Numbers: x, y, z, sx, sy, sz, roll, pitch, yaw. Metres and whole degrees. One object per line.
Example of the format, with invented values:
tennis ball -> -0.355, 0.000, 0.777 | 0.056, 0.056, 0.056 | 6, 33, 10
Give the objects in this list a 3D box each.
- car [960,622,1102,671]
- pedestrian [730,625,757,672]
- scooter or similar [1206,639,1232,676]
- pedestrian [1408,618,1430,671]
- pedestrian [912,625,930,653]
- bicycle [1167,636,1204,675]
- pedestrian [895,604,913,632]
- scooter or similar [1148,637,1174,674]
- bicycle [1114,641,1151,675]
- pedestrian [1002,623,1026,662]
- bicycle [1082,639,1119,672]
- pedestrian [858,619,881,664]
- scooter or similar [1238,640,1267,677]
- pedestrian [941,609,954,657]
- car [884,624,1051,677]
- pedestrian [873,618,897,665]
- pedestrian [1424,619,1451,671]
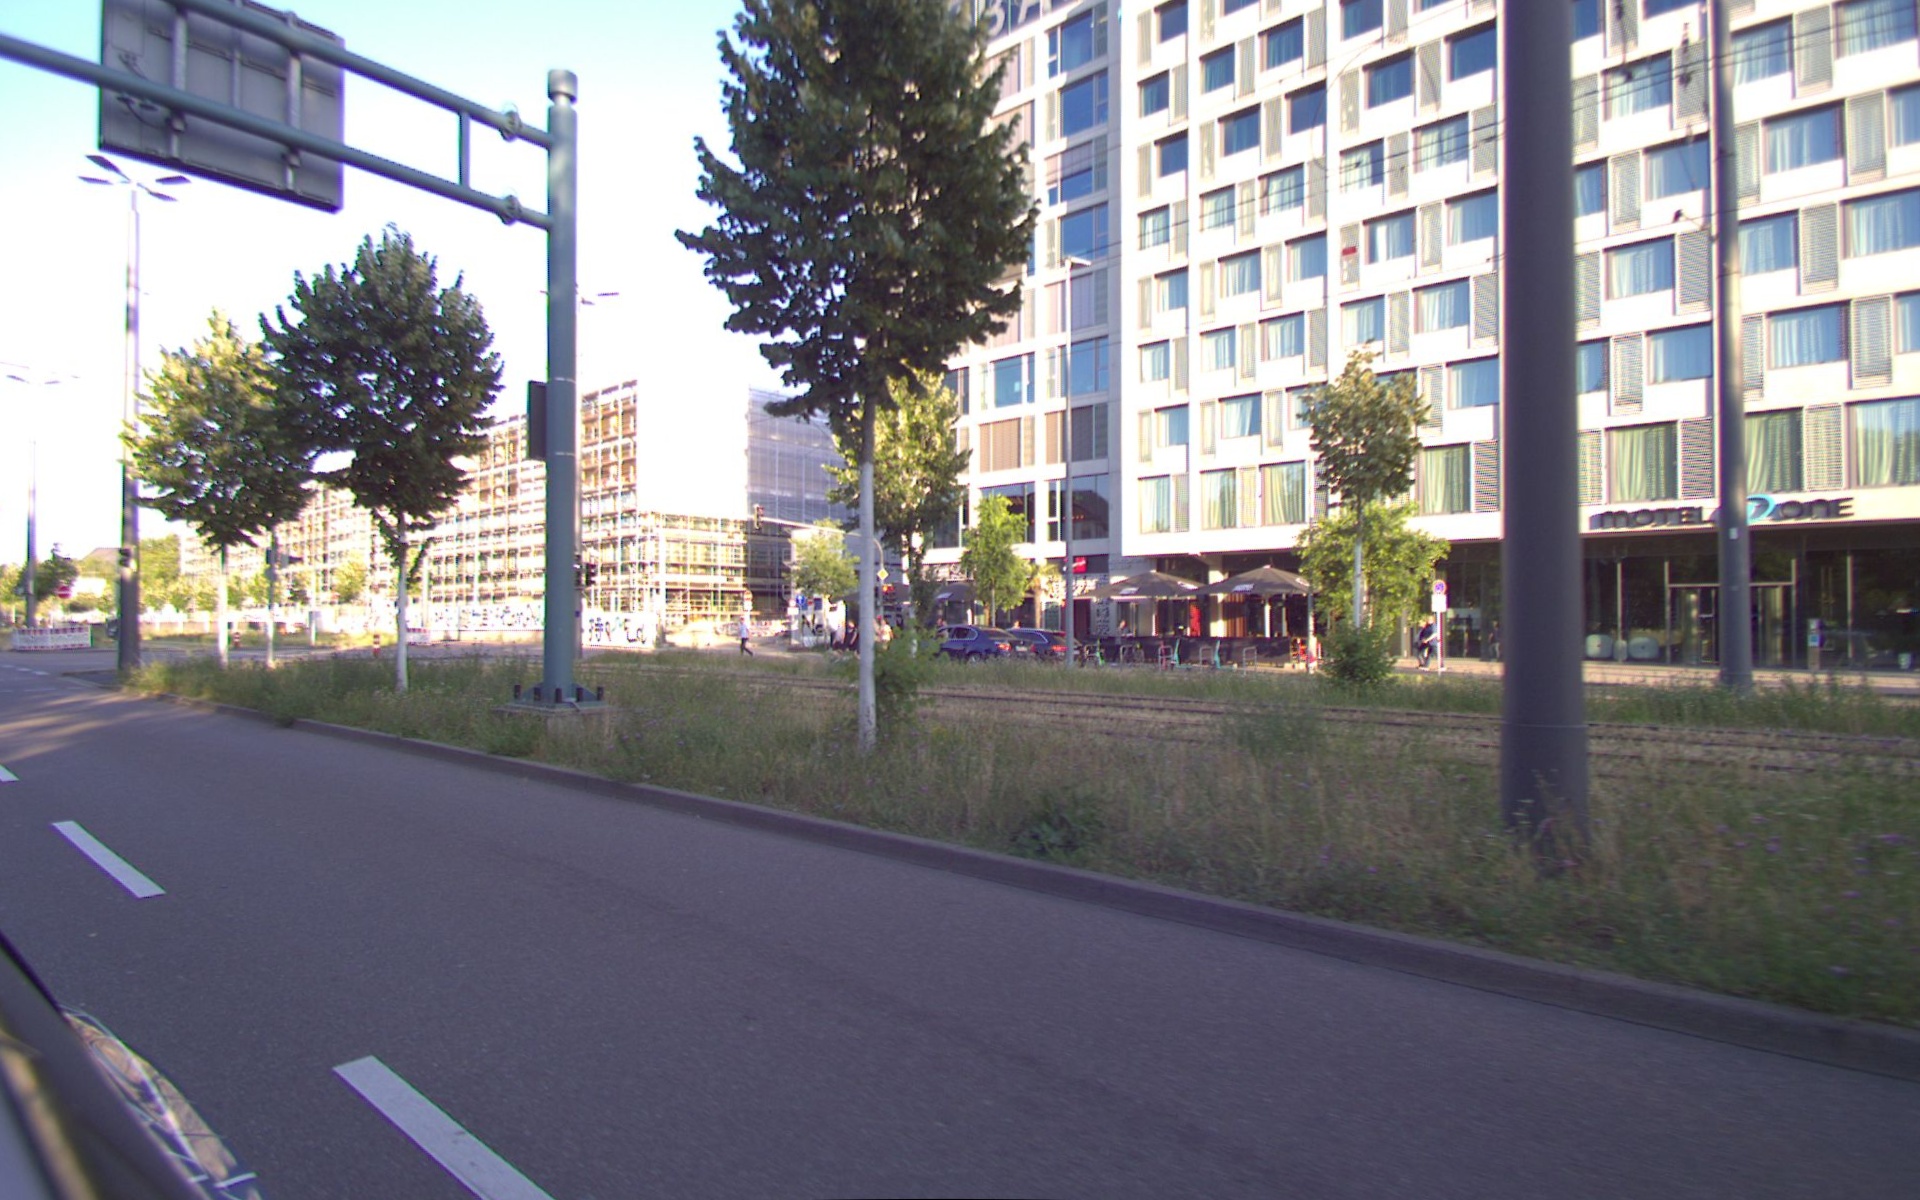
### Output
car -> 2.197, 1.438, 32.038 | 4.220, 1.451, 1.866 | -1, -2, 40
pedestrian -> -8.722, 1.960, 40.808 | 0.762, 1.850, 0.699 | -2, 0, 40
scooter or similar -> 8.551, 1.875, 33.353 | 0.338, 1.172, 1.169 | -1, -2, 41
pedestrian -> 14.806, 1.417, 32.646 | 0.516, 1.669, 0.424 | -2, 0, 42
pedestrian -> -2.037, 2.046, 53.040 | 0.768, 1.425, 0.600 | -1, -2, 25
bicycle -> 7.628, 1.856, 34.161 | 0.442, 1.208, 1.891 | -1, -1, 37
pedestrian -> -2.950, 0.971, 53.438 | 0.772, 1.473, 0.597 | -2, -2, 41
scooter or similar -> 6.852, 1.873, 34.476 | 0.338, 1.227, 1.169 | -2, -2, 41
bicycle -> 6.029, 2.004, 35.332 | 0.442, 1.067, 1.891 | -1, -1, 37
pedestrian -> 2.244, 1.765, 42.167 | 0.707, 1.615, 0.672 | -2, 0, 36
bicycle -> 5.010, 1.964, 36.023 | 0.442, 1.067, 1.891 | -1, -1, 37
pedestrian -> -3.826, 1.740, 42.847 | 0.681, 1.849, 0.699 | 0, 1, 42
scooter or similar -> 9.315, 1.859, 32.200 | 0.338, 1.065, 1.169 | -4, 1, 41
pedestrian -> -0.532, 1.408, 43.084 | 0.494, 2.029, 0.552 | 0, -2, -7
car -> 0.150, 1.472, 29.932 | 4.798, 1.452, 1.994 | -2, -4, 41
pedestrian -> -3.146, 1.737, 42.379 | 0.708, 1.938, 0.671 | -2, 0, 42
pedestrian -> 15.112, 1.415, 32.019 | 0.603, 1.612, 0.491 | -2, 0, 42
